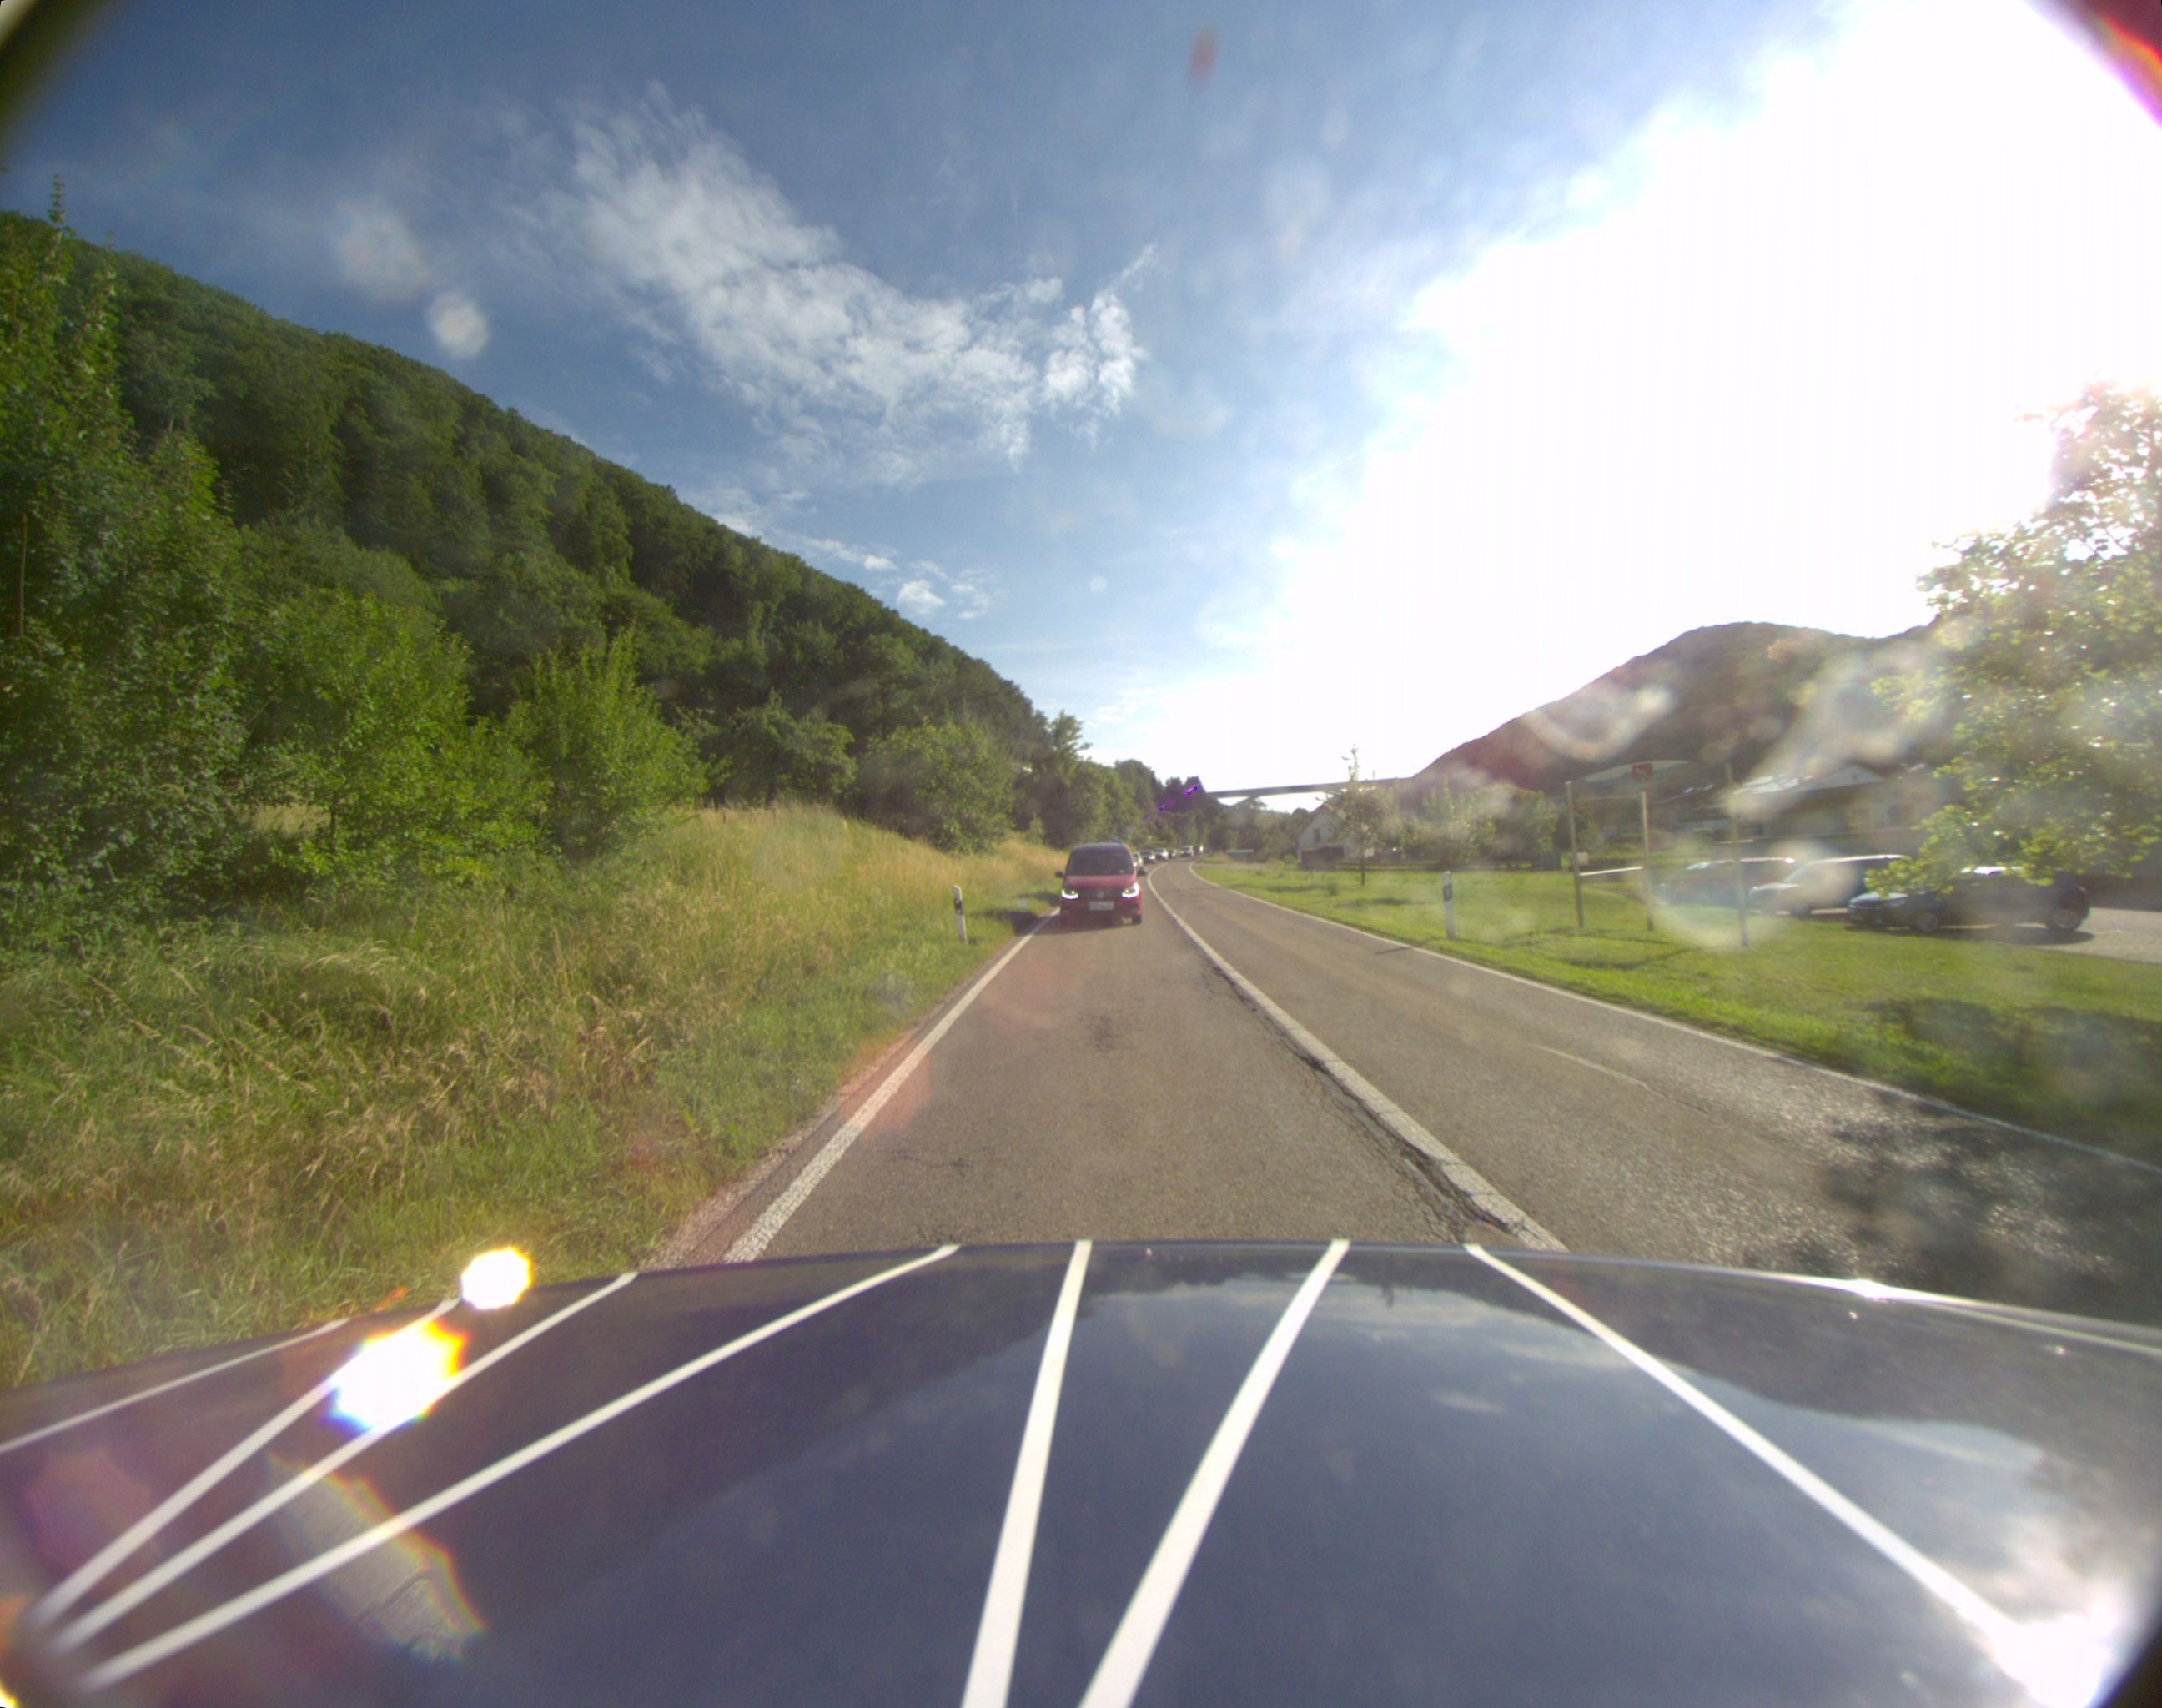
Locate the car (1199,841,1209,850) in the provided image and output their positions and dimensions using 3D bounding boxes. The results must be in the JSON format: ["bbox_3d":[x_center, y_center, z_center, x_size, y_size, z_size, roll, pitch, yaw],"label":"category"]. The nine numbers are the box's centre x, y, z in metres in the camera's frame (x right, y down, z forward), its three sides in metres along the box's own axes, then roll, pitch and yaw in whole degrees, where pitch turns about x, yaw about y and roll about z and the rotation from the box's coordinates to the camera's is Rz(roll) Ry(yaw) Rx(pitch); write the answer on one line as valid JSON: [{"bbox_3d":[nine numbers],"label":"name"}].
[{"bbox_3d":[22.633,-1.593,140.160,1.628,1.470,3.682,-2,1,12],"label":"car"}]

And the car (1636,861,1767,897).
[{"bbox_3d":[26.217,1.054,32.239,3.892,1.360,1.854,-1,1,14],"label":"car"}]

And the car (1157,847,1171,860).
[{"bbox_3d":[10.302,-0.097,94.802,1.629,1.470,3.680,-2,1,5],"label":"car"}]

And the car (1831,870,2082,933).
[{"bbox_3d":[22.321,1.197,19.553,4.014,1.443,1.686,-2,-1,11],"label":"car"}]

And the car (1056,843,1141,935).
[{"bbox_3d":[0.510,0.671,17.162,1.648,1.762,4.000,-2,1,5],"label":"car"}]

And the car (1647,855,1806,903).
[{"bbox_3d":[24.967,0.975,29.580,4.327,1.659,1.850,-2,1,17],"label":"car"}]

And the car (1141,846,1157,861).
[{"bbox_3d":[7.232,-0.064,80.616,1.629,1.470,3.680,-2,1,5],"label":"car"}]

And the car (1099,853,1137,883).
[{"bbox_3d":[2.055,0.725,41.110,1.629,1.470,3.681,-2,1,8],"label":"car"}]

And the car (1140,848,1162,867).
[{"bbox_3d":[5.967,0.298,64.271,1.629,1.470,3.681,-2,1,8],"label":"car"}]

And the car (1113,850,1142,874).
[{"bbox_3d":[3.271,0.531,53.143,1.629,1.470,3.681,-2,1,8],"label":"car"}]

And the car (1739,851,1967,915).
[{"bbox_3d":[24.286,0.908,24.098,5.000,1.783,1.685,-2,1,11],"label":"car"}]

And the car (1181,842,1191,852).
[{"bbox_3d":[17.546,-1.200,127.442,1.629,1.470,3.681,-2,1,7],"label":"car"}]

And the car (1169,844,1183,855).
[{"bbox_3d":[13.882,-0.689,110.726,1.628,1.470,3.682,-2,1,12],"label":"car"}]
